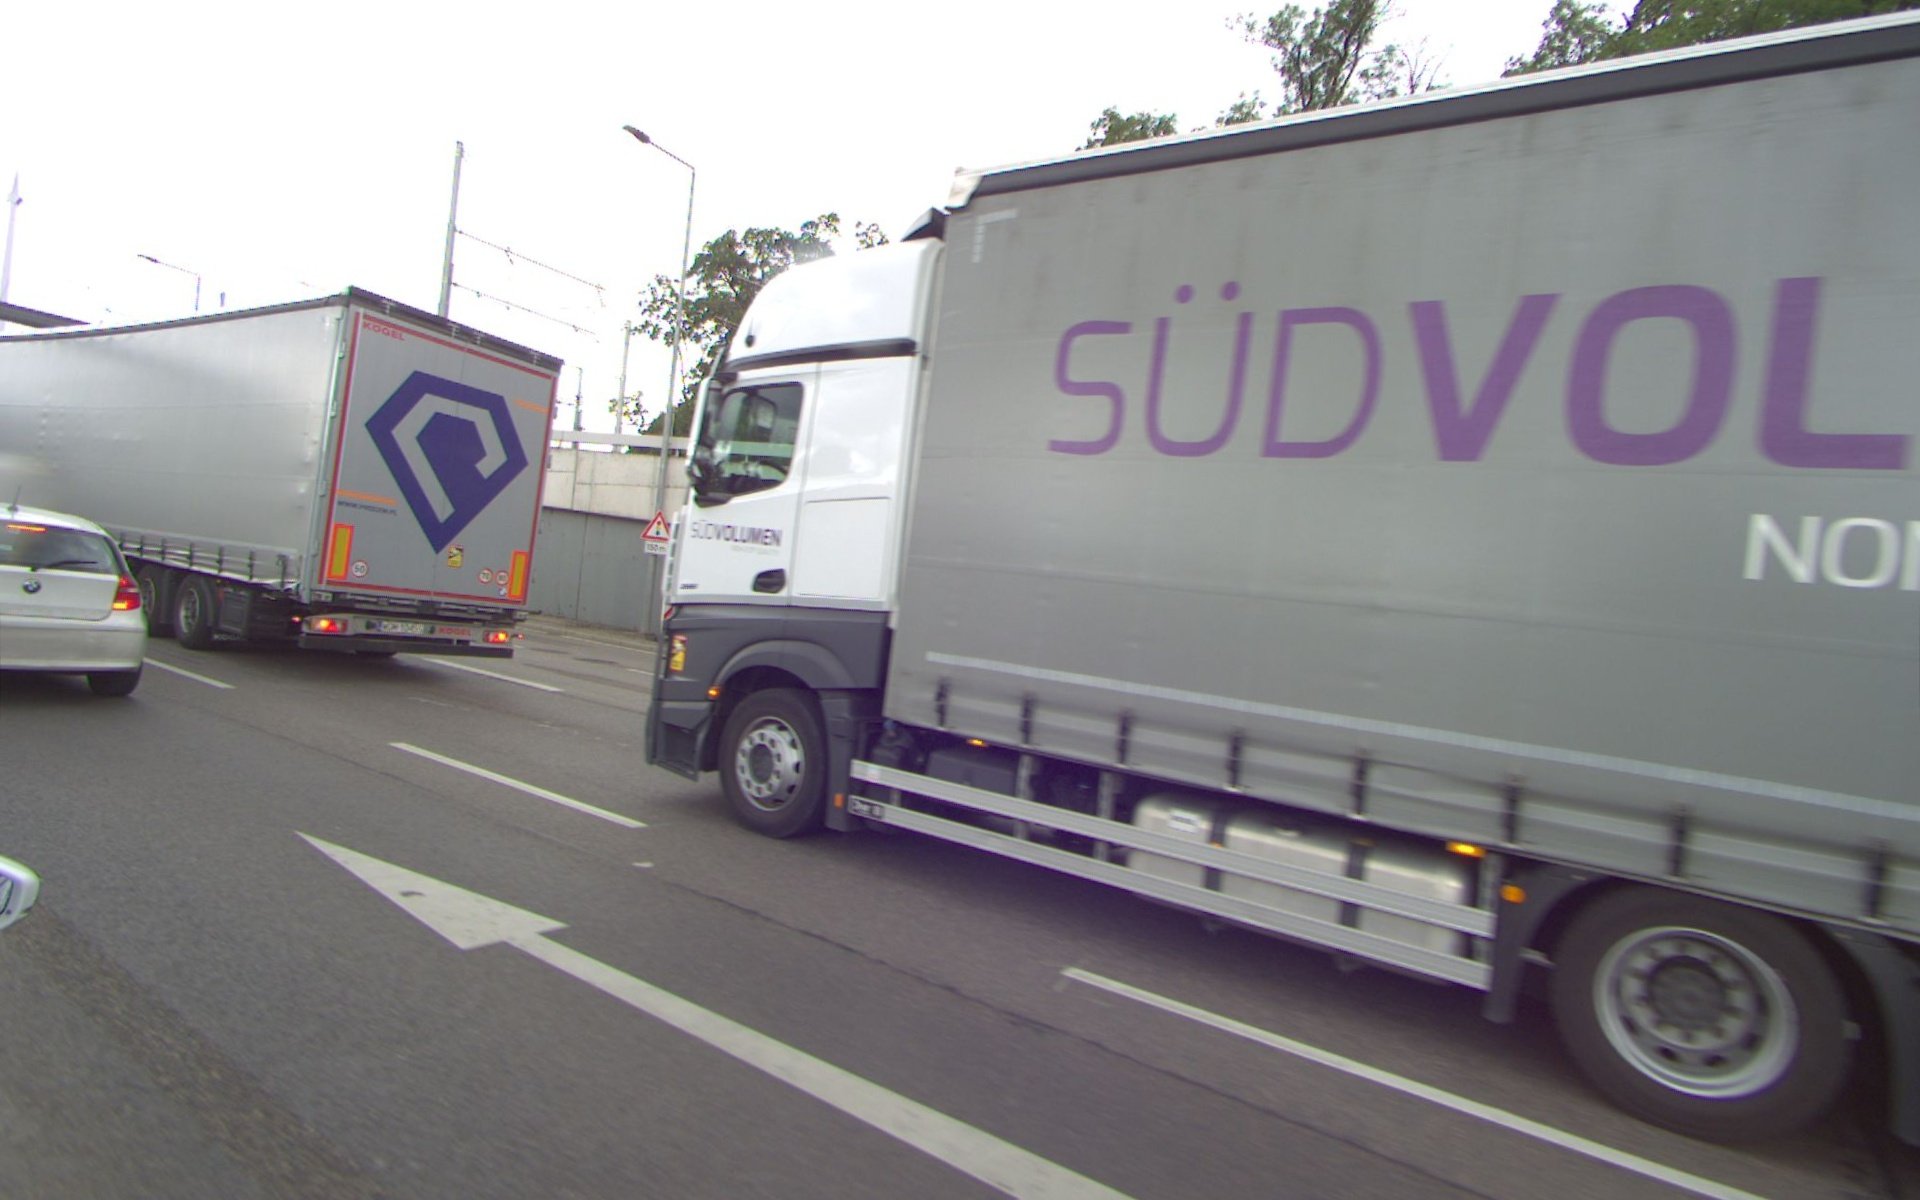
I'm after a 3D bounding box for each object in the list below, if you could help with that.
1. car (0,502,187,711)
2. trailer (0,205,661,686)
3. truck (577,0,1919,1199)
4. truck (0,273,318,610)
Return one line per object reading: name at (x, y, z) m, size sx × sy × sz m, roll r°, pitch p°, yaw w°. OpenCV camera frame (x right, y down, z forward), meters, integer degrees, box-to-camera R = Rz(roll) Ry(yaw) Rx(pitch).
car at (-8.318, -0.143, 8.282) m, size 4.278 × 1.414 × 1.719 m, roll 6°, pitch -3°, yaw 34°
trailer at (-10.205, -2.006, 14.790) m, size 11.915 × 4.685 × 3.811 m, roll 7°, pitch -1°, yaw 33°
truck at (3.020, -0.094, 5.666) m, size 10.806 × 4.190 × 3.729 m, roll 7°, pitch -1°, yaw 34°
truck at (-15.946, -2.707, 18.491) m, size 7.320 × 4.685 × 3.812 m, roll 7°, pitch -1°, yaw 33°
